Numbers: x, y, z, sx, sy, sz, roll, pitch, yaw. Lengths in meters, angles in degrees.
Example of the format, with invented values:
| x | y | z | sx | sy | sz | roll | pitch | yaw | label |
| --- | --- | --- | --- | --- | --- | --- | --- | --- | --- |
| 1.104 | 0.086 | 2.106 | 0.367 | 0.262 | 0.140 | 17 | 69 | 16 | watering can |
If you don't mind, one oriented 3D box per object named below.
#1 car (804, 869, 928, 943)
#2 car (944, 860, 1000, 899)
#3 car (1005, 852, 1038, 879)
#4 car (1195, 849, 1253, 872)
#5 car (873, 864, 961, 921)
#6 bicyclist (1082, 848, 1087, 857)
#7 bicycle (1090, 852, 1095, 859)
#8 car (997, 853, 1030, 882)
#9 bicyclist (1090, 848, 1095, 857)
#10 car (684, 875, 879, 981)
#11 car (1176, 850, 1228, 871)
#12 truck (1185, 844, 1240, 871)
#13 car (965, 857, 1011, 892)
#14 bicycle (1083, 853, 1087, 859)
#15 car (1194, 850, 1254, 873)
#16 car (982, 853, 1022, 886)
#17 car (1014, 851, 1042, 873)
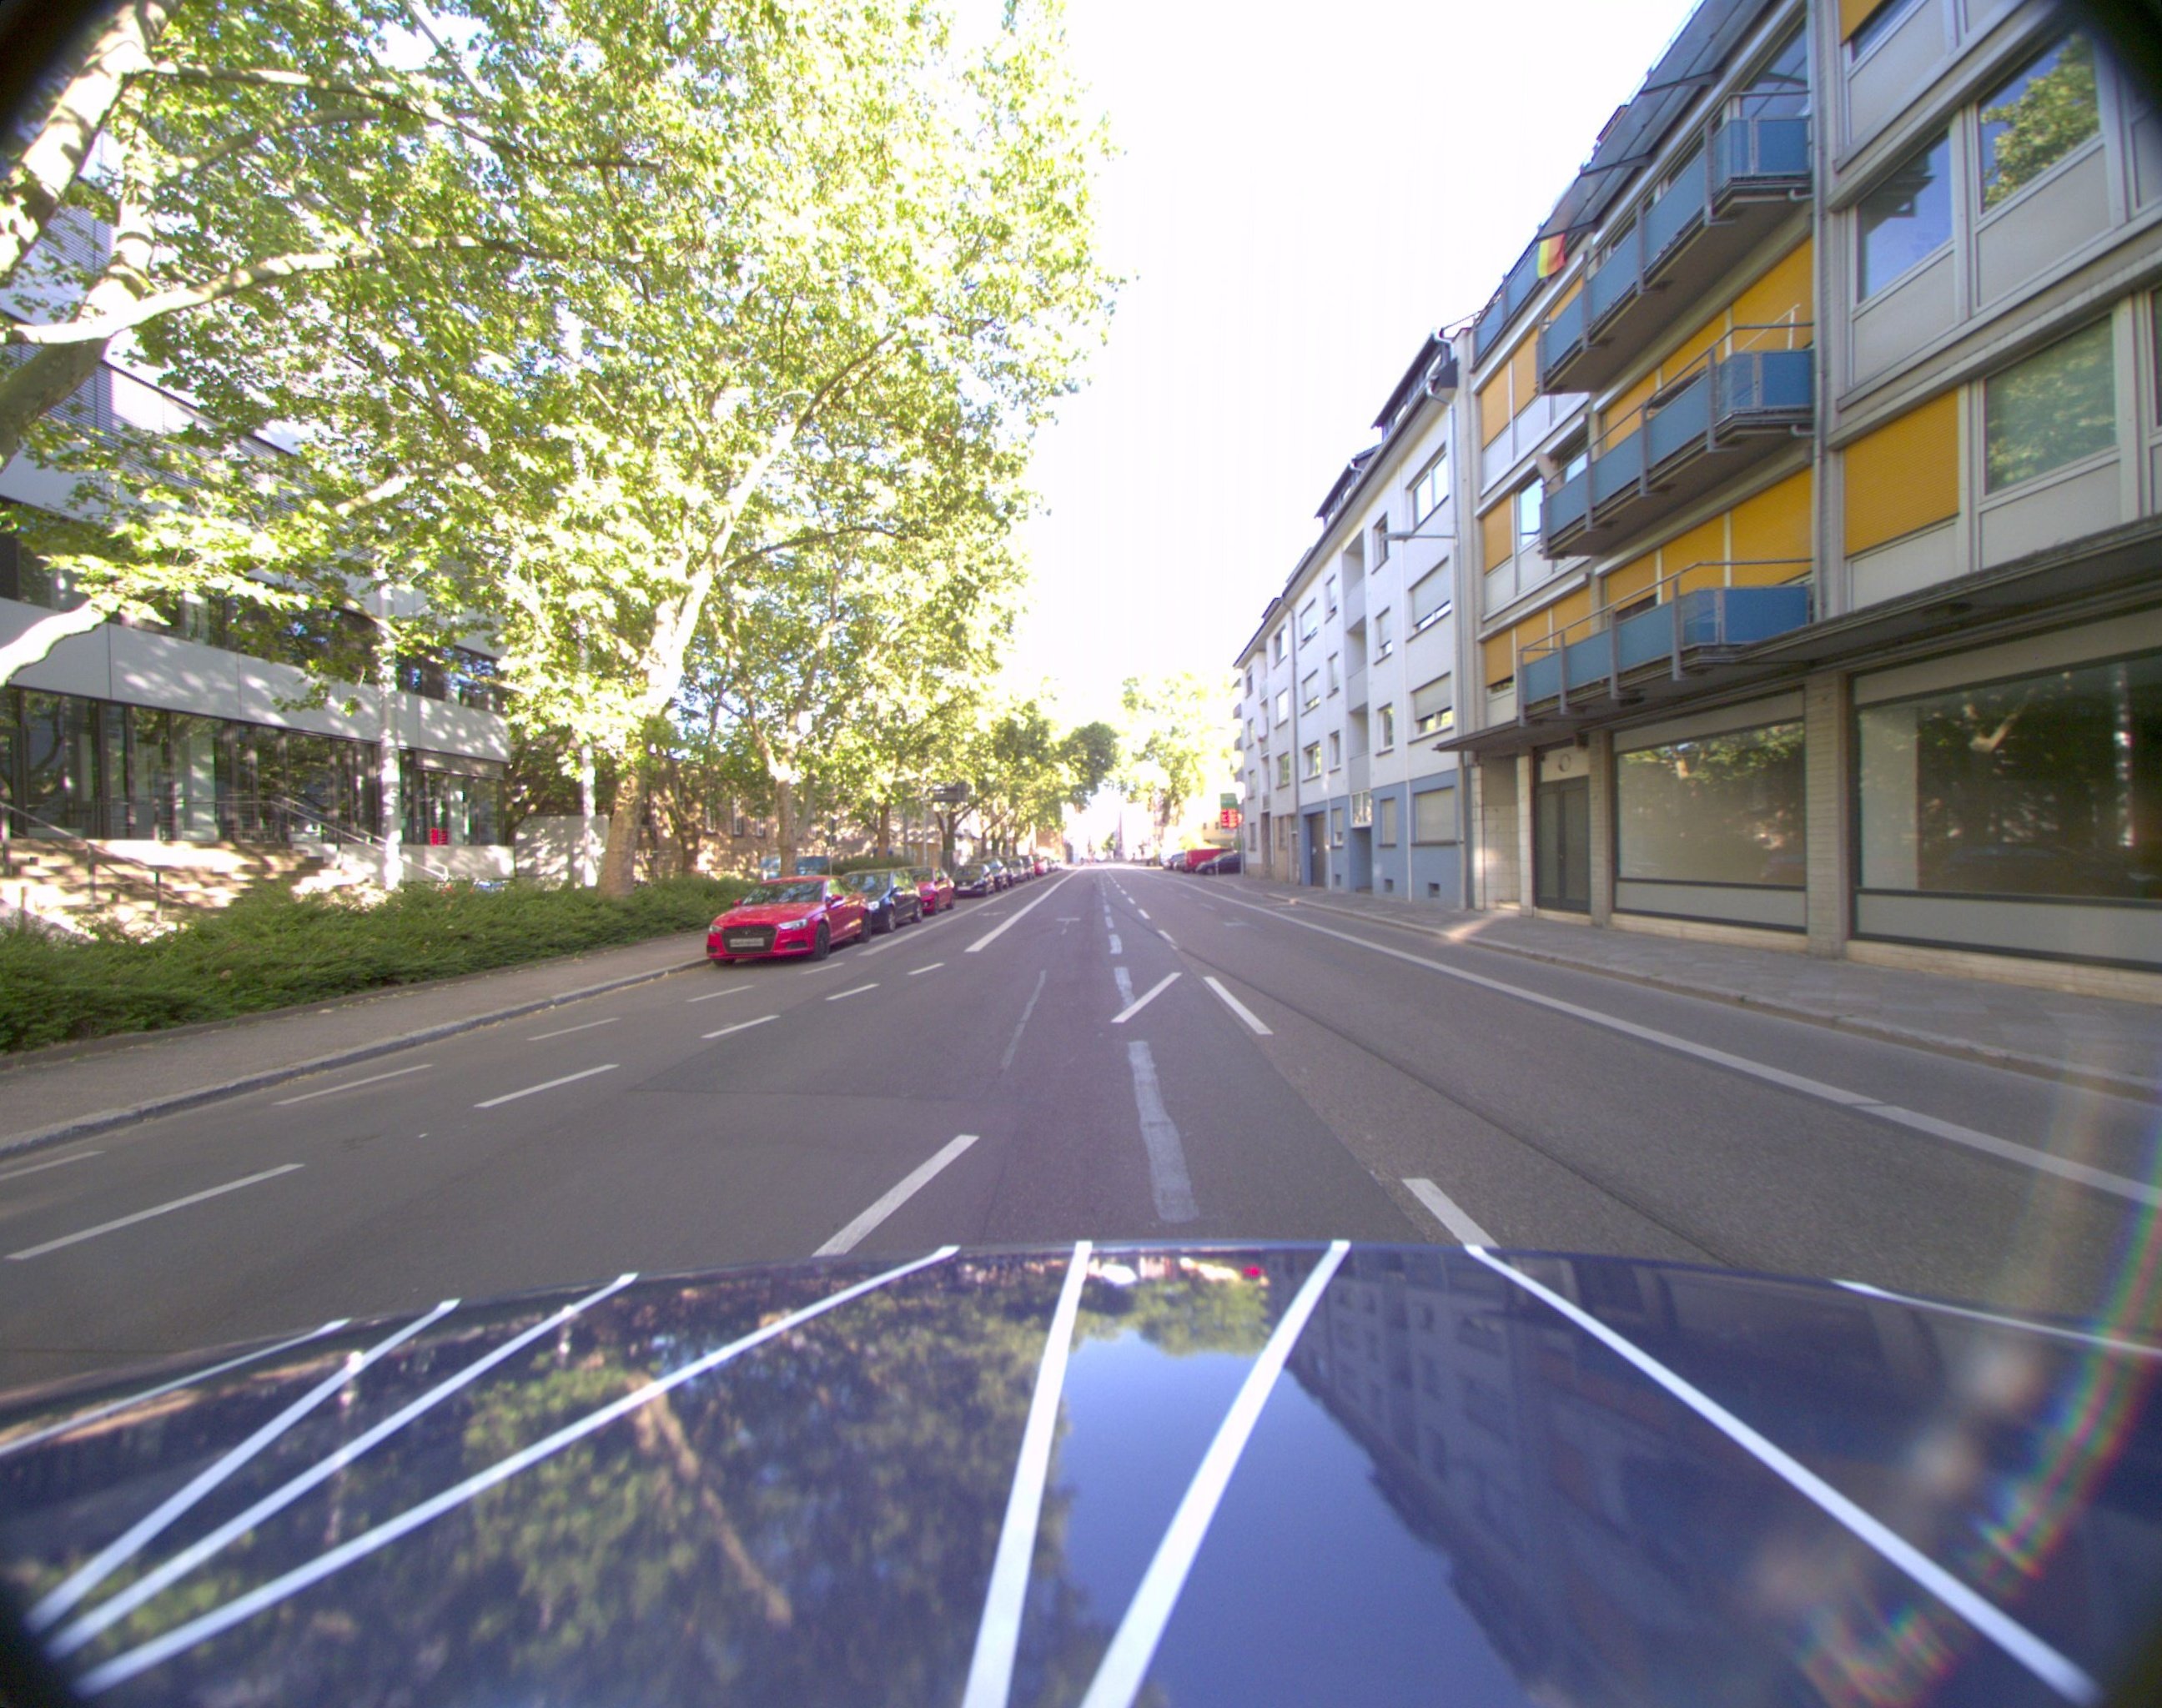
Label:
| x | y | z | sx | sy | sz | roll | pitch | yaw | label |
| --- | --- | --- | --- | --- | --- | --- | --- | --- | --- |
| -5.089 | 1.170 | 18.581 | 1.818 | 1.405 | 4.163 | -3 | 0 | 0 | car |
| -4.709 | 1.077 | 33.391 | 1.790 | 1.451 | 4.163 | -3 | 0 | 0 | car |
| -4.325 | 0.796 | 55.667 | 2.042 | 1.745 | 4.552 | -3 | 0 | 0 | car |
| 10.720 | 0.479 | 57.148 | 3.996 | 1.494 | 1.761 | -2 | 1 | 2 | car |
| -5.036 | 1.124 | 23.864 | 1.818 | 1.475 | 4.163 | -3 | 0 | 0 | car |
| 0.653 | -0.209 | 133.587 | 0.718 | 1.573 | 0.936 | -2 | 1 | 1 | bicyclist |
| 2.006 | 0.268 | 133.767 | 0.717 | 1.052 | 2.485 | -2 | 1 | 1 | bicycle |
| -4.453 | 0.852 | 50.709 | 1.790 | 1.745 | 4.552 | -3 | 0 | 0 | car |
| 1.993 | -0.262 | 133.797 | 0.718 | 1.573 | 0.936 | -2 | 1 | 1 | bicyclist |
| -5.144 | 1.192 | 13.725 | 1.818 | 1.405 | 4.163 | -3 | 0 | 0 | car |
| 9.970 | 0.525 | 62.850 | 3.996 | 1.494 | 1.761 | -2 | 1 | 2 | car |
| 10.360 | 0.245 | 59.997 | 3.996 | 1.925 | 1.761 | -2 | 1 | 2 | truck |
| -4.608 | 0.978 | 38.137 | 1.790 | 1.544 | 4.163 | -3 | 0 | 0 | car |
| 0.671 | 0.372 | 133.676 | 0.717 | 1.052 | 2.485 | -2 | 1 | 1 | bicycle |
| 10.246 | 0.546 | 54.800 | 3.996 | 1.449 | 1.761 | -2 | 1 | 2 | car |
| -4.531 | 0.868 | 44.153 | 1.790 | 1.745 | 4.345 | -3 | 0 | 0 | car |
| -4.599 | 0.699 | 66.098 | 2.042 | 1.745 | 4.552 | -3 | 0 | 0 | car |
